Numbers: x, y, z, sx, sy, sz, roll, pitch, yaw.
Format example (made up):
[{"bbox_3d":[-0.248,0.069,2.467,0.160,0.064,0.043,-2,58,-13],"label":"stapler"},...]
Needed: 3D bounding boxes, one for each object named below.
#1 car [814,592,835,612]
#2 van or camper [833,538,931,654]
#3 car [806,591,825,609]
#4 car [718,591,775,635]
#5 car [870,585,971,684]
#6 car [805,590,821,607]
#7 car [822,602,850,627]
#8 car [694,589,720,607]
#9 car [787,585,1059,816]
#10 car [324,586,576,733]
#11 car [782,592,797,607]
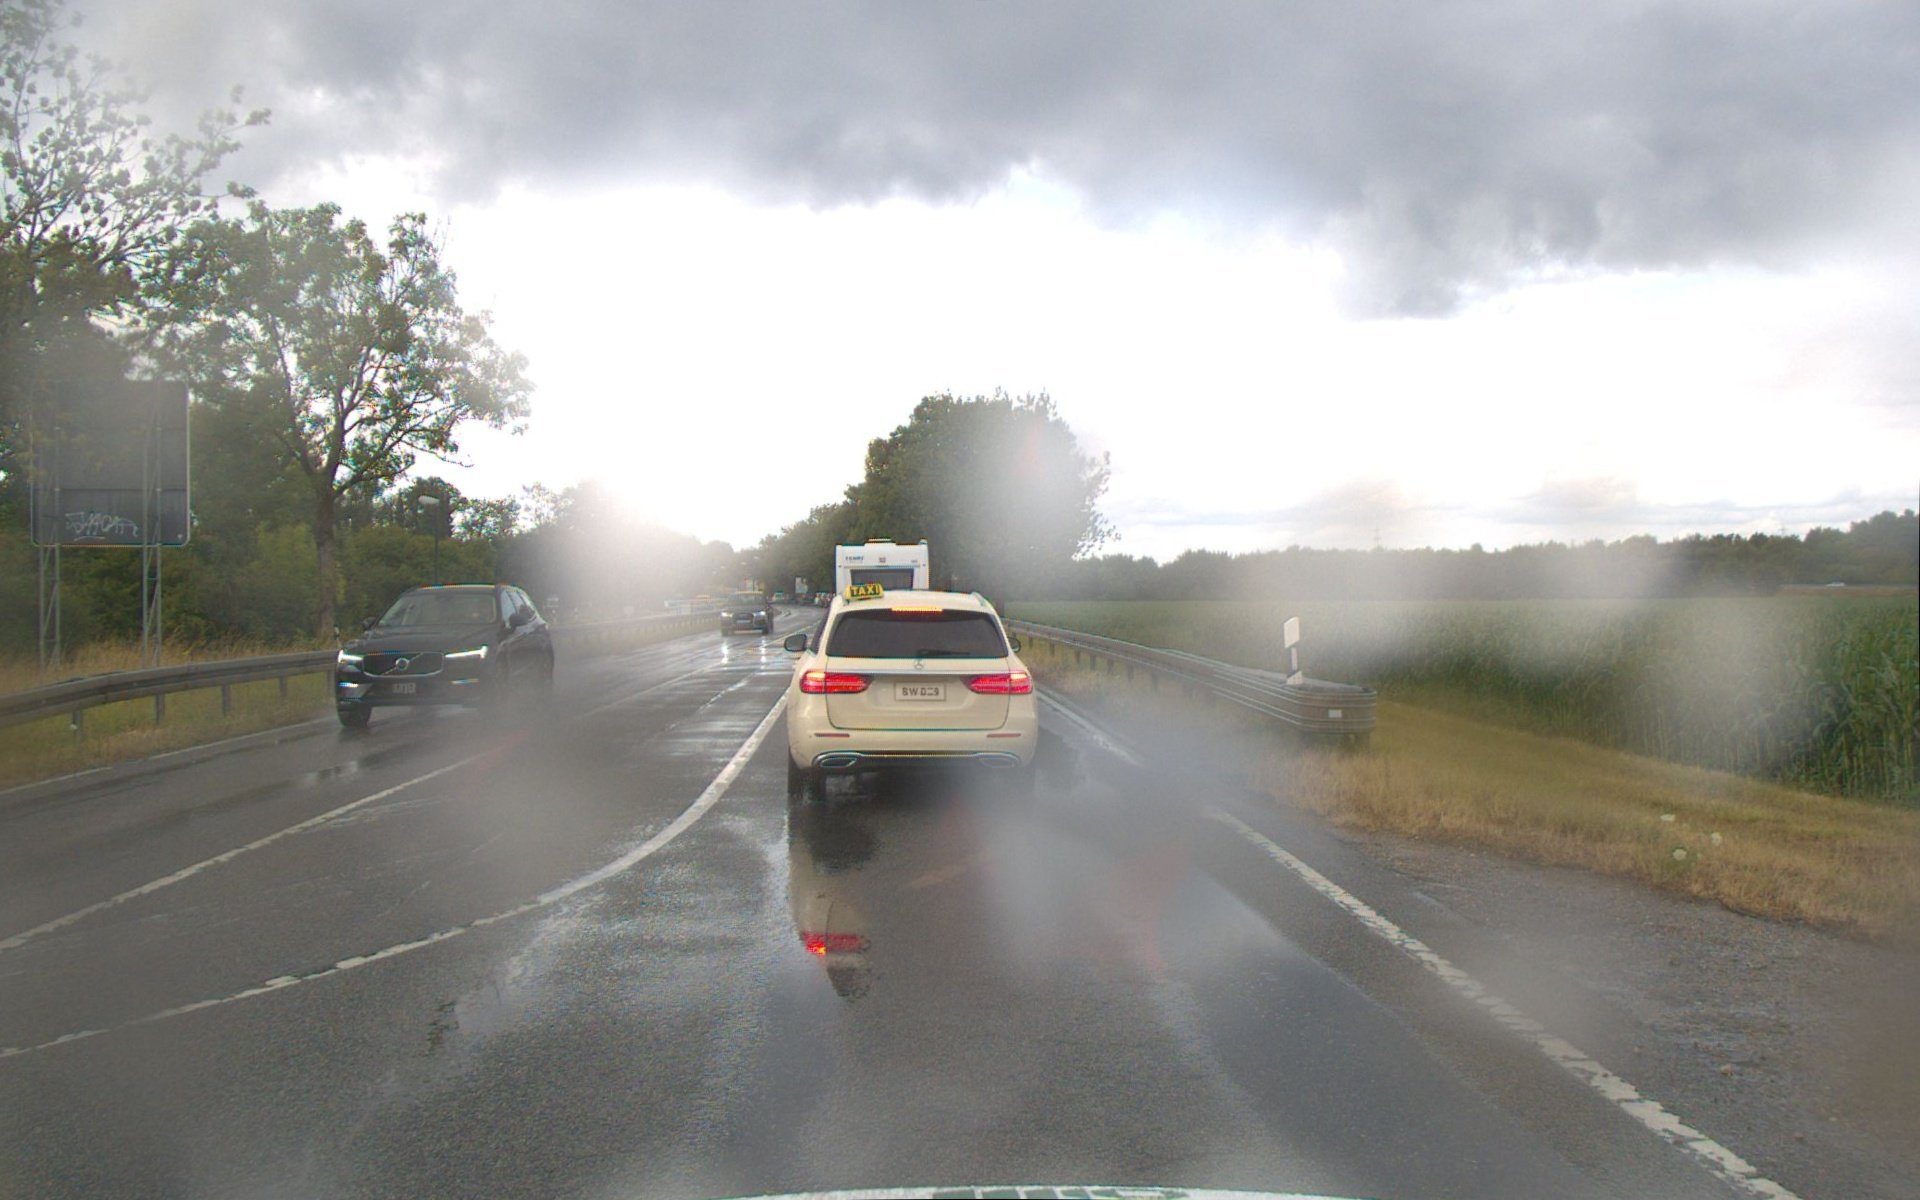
[{"bbox_3d":[-13.845,0.188,169.000,1.956,2.049,3.994,0,0,-7],"label":"car"},{"bbox_3d":[-1.994,-0.139,42.130,2.304,2.727,5.765,-1,1,-3],"label":"van or camper"},{"bbox_3d":[-16.531,-0.007,188.876,1.953,2.087,3.998,0,0,-2],"label":"car"},{"bbox_3d":[-8.128,0.465,63.164,1.733,1.550,4.139,-2,0,-2],"label":"car"},{"bbox_3d":[-0.731,0.542,28.392,1.595,1.556,3.930,-1,0,-3],"label":"car"},{"bbox_3d":[-17.919,-0.165,202.020,1.955,2.049,3.996,0,0,-5],"label":"car"},{"bbox_3d":[-10.515,1.213,140.295,1.958,2.049,3.989,0,0,-11],"label":"car"},{"bbox_3d":[-23.841,-0.186,155.997,1.953,1.680,3.999,0,0,-2],"label":"car"},{"bbox_3d":[-0.303,0.659,13.008,1.788,1.511,4.144,1,0,-2],"label":"car"},{"bbox_3d":[-6.284,0.660,20.933,1.905,1.608,4.441,-2,0,-2],"label":"car"},{"bbox_3d":[-24.113,-0.107,233.320,1.956,2.049,3.993,0,0,-8],"label":"car"}]
